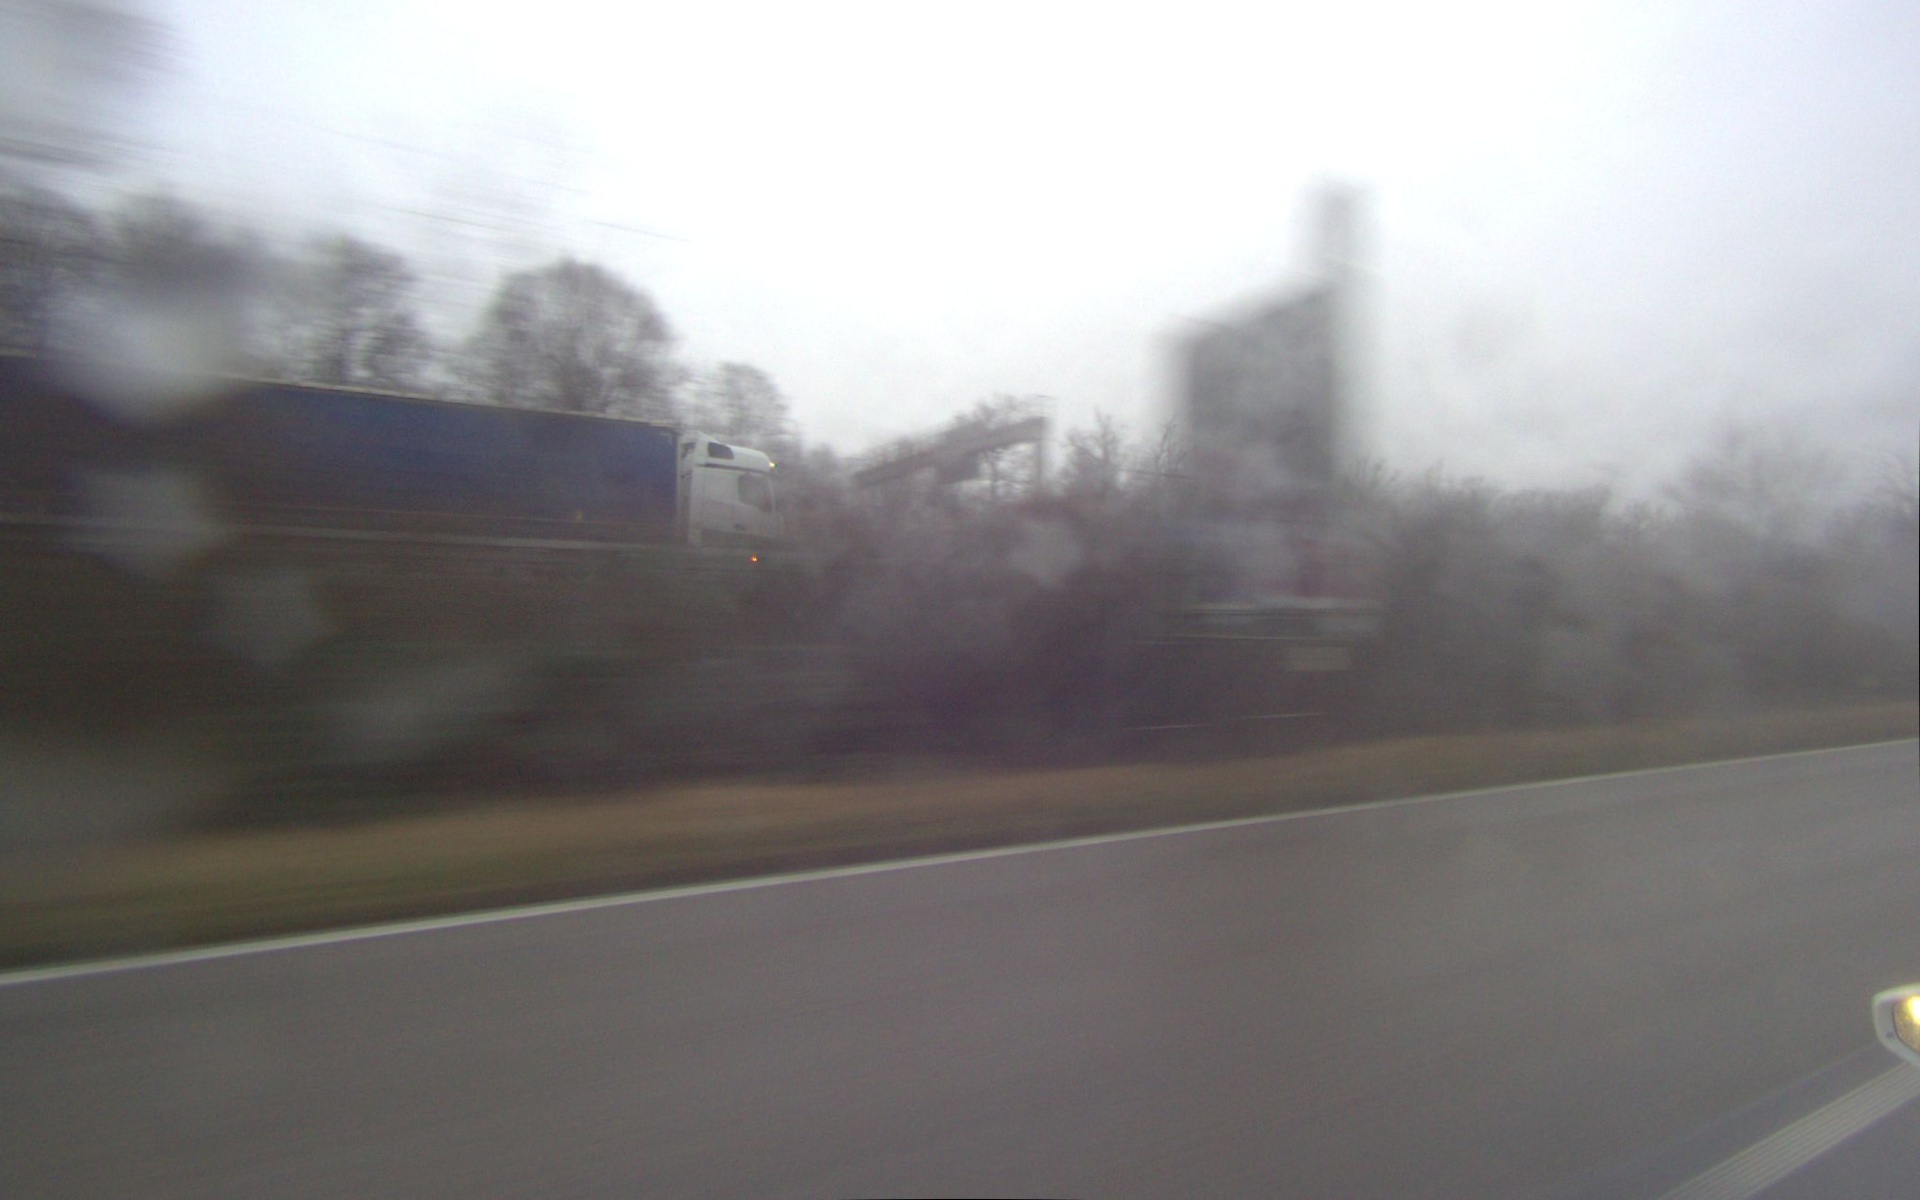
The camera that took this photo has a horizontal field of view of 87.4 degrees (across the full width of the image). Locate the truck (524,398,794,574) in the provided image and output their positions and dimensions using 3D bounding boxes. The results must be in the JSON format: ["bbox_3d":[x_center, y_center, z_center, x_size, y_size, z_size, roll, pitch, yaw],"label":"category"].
[{"bbox_3d":[-7.524,-2.621,25.214,5.996,3.680,2.978,1,-1,-30],"label":"truck"}]

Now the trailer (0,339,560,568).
[{"bbox_3d":[-14.589,-2.731,21.026,11.253,3.682,2.984,1,-1,-30],"label":"trailer"}]
